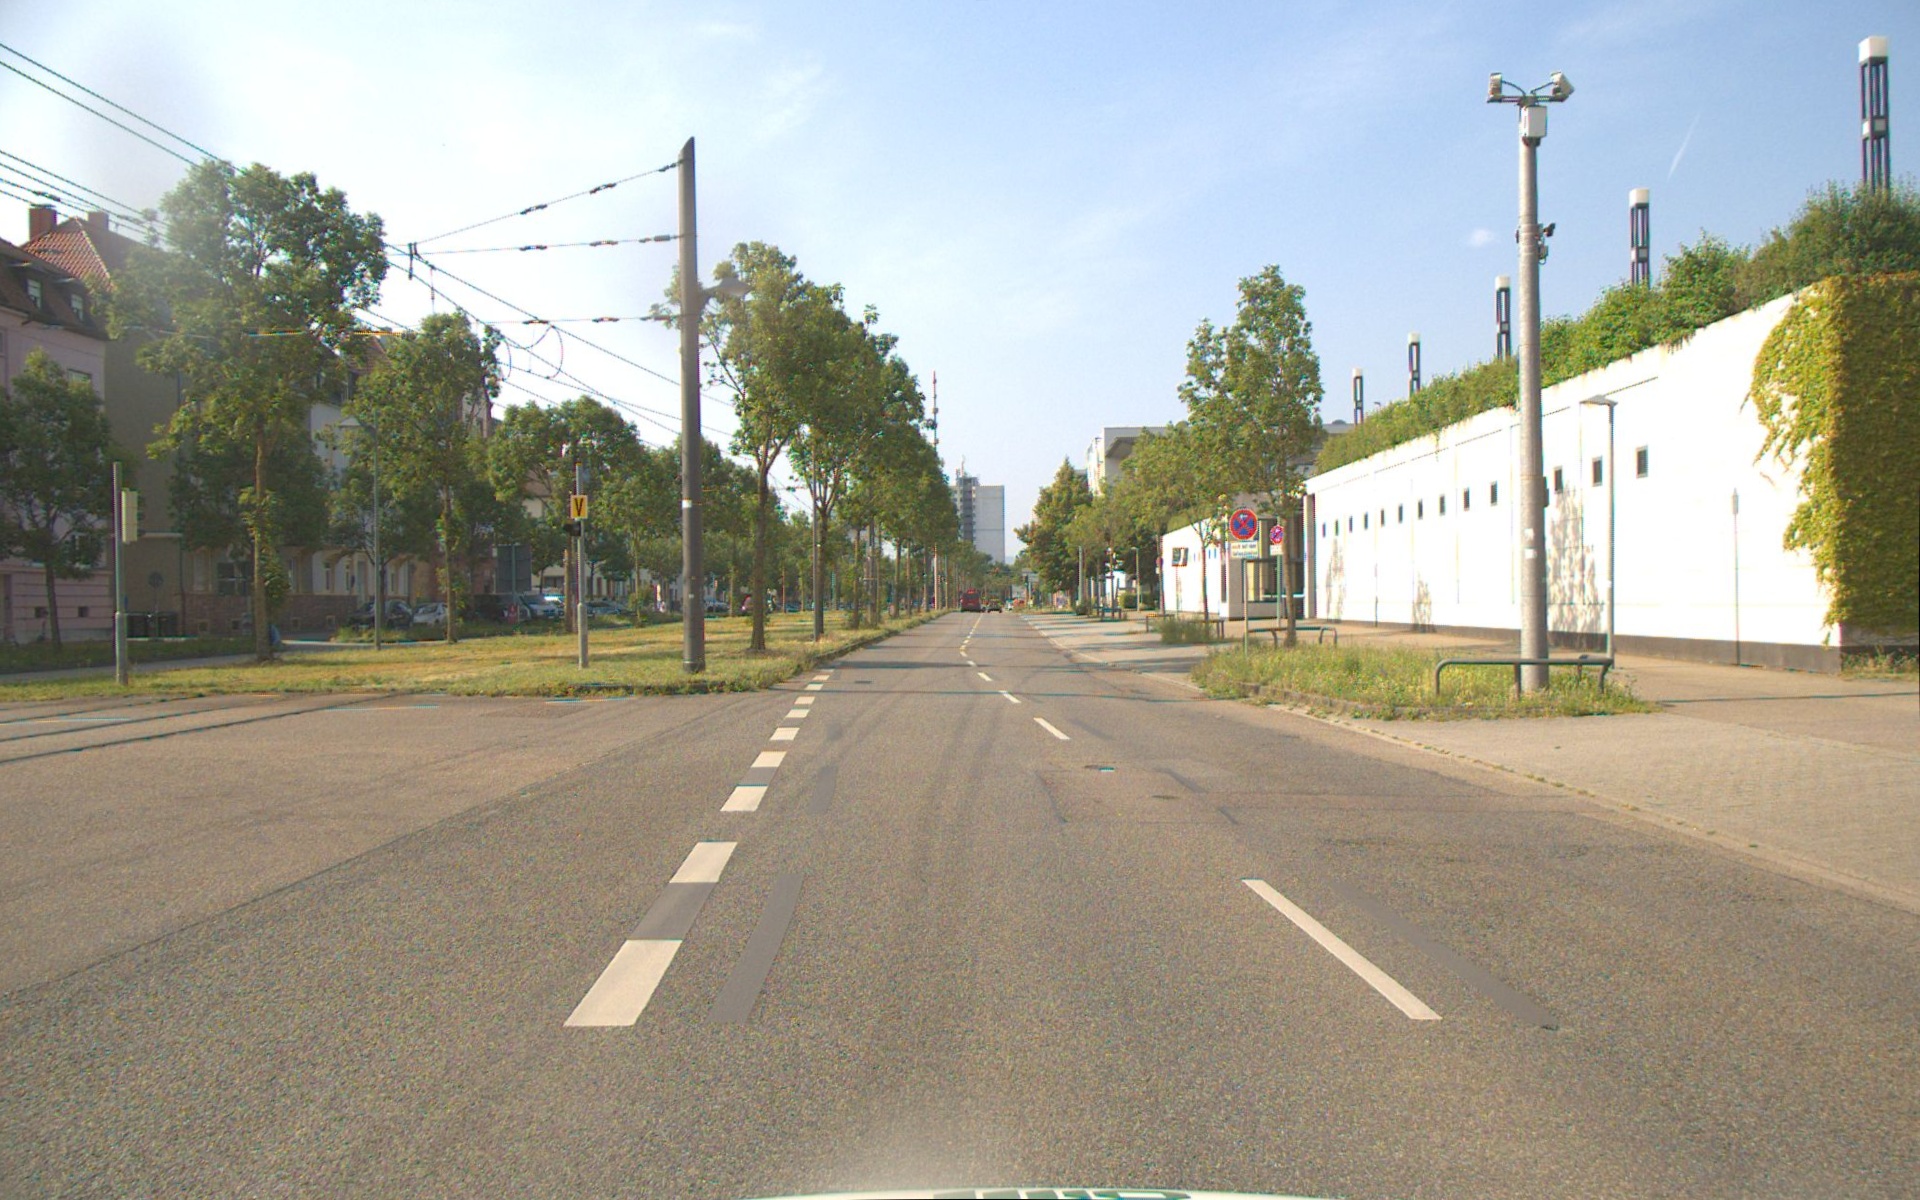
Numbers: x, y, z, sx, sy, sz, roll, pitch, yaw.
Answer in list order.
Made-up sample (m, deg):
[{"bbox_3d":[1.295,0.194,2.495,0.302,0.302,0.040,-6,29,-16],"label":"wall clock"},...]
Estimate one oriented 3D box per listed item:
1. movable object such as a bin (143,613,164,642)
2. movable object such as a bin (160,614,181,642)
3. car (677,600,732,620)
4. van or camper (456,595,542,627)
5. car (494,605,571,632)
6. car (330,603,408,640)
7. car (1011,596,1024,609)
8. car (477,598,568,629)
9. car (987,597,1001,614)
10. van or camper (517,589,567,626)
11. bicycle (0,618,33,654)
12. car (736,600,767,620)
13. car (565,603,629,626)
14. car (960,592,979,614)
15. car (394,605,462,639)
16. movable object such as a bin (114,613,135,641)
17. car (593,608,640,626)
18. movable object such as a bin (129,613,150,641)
[{"bbox_3d":[-35.665,1.213,73.135,0.573,1.232,0.640,1,-1,0],"label":"movable object such as a bin"},{"bbox_3d":[-34.944,1.232,73.229,0.573,1.232,0.640,1,-1,0],"label":"movable object such as a bin"},{"bbox_3d":[-24.188,0.940,156.382,5.219,1.768,1.993,1,-1,35],"label":"car"},{"bbox_3d":[-25.617,0.600,91.899,4.750,1.652,1.996,1,-1,34],"label":"van or camper"},{"bbox_3d":[-25.144,1.078,97.280,4.384,1.444,1.969,1,-1,34],"label":"car"},{"bbox_3d":[-27.862,0.974,78.127,1.953,1.657,4.774,1,0,0],"label":"car"},{"bbox_3d":[7.591,0.385,218.611,1.712,1.679,3.216,1,-1,2],"label":"car"},{"bbox_3d":[-25.023,0.777,94.476,5.111,1.652,2.052,1,-1,32],"label":"car"},{"bbox_3d":[4.415,0.704,214.341,1.712,2.049,3.216,1,-1,2],"label":"car"},{"bbox_3d":[-31.245,0.584,123.823,1.997,2.612,6.356,1,-1,1],"label":"van or camper"},{"bbox_3d":[-30.705,1.149,53.248,0.591,1.147,1.947,1,-1,0],"label":"bicycle"},{"bbox_3d":[-18.967,0.938,150.850,1.923,1.724,4.299,1,-1,5],"label":"car"},{"bbox_3d":[-24.343,0.956,110.866,3.903,1.442,1.578,1,-1,18],"label":"car"},{"bbox_3d":[0.891,0.296,154.259,1.712,2.049,3.216,1,-1,2],"label":"car"},{"bbox_3d":[-27.264,1.088,84.879,1.850,1.657,4.158,1,0,4],"label":"car"},{"bbox_3d":[-36.927,1.182,73.137,0.573,1.232,0.640,1,-1,0],"label":"movable object such as a bin"},{"bbox_3d":[-24.366,1.198,117.269,3.099,1.181,1.492,1,-1,34],"label":"car"},{"bbox_3d":[-36.281,1.198,73.153,0.573,1.232,0.640,1,-1,0],"label":"movable object such as a bin"}]
